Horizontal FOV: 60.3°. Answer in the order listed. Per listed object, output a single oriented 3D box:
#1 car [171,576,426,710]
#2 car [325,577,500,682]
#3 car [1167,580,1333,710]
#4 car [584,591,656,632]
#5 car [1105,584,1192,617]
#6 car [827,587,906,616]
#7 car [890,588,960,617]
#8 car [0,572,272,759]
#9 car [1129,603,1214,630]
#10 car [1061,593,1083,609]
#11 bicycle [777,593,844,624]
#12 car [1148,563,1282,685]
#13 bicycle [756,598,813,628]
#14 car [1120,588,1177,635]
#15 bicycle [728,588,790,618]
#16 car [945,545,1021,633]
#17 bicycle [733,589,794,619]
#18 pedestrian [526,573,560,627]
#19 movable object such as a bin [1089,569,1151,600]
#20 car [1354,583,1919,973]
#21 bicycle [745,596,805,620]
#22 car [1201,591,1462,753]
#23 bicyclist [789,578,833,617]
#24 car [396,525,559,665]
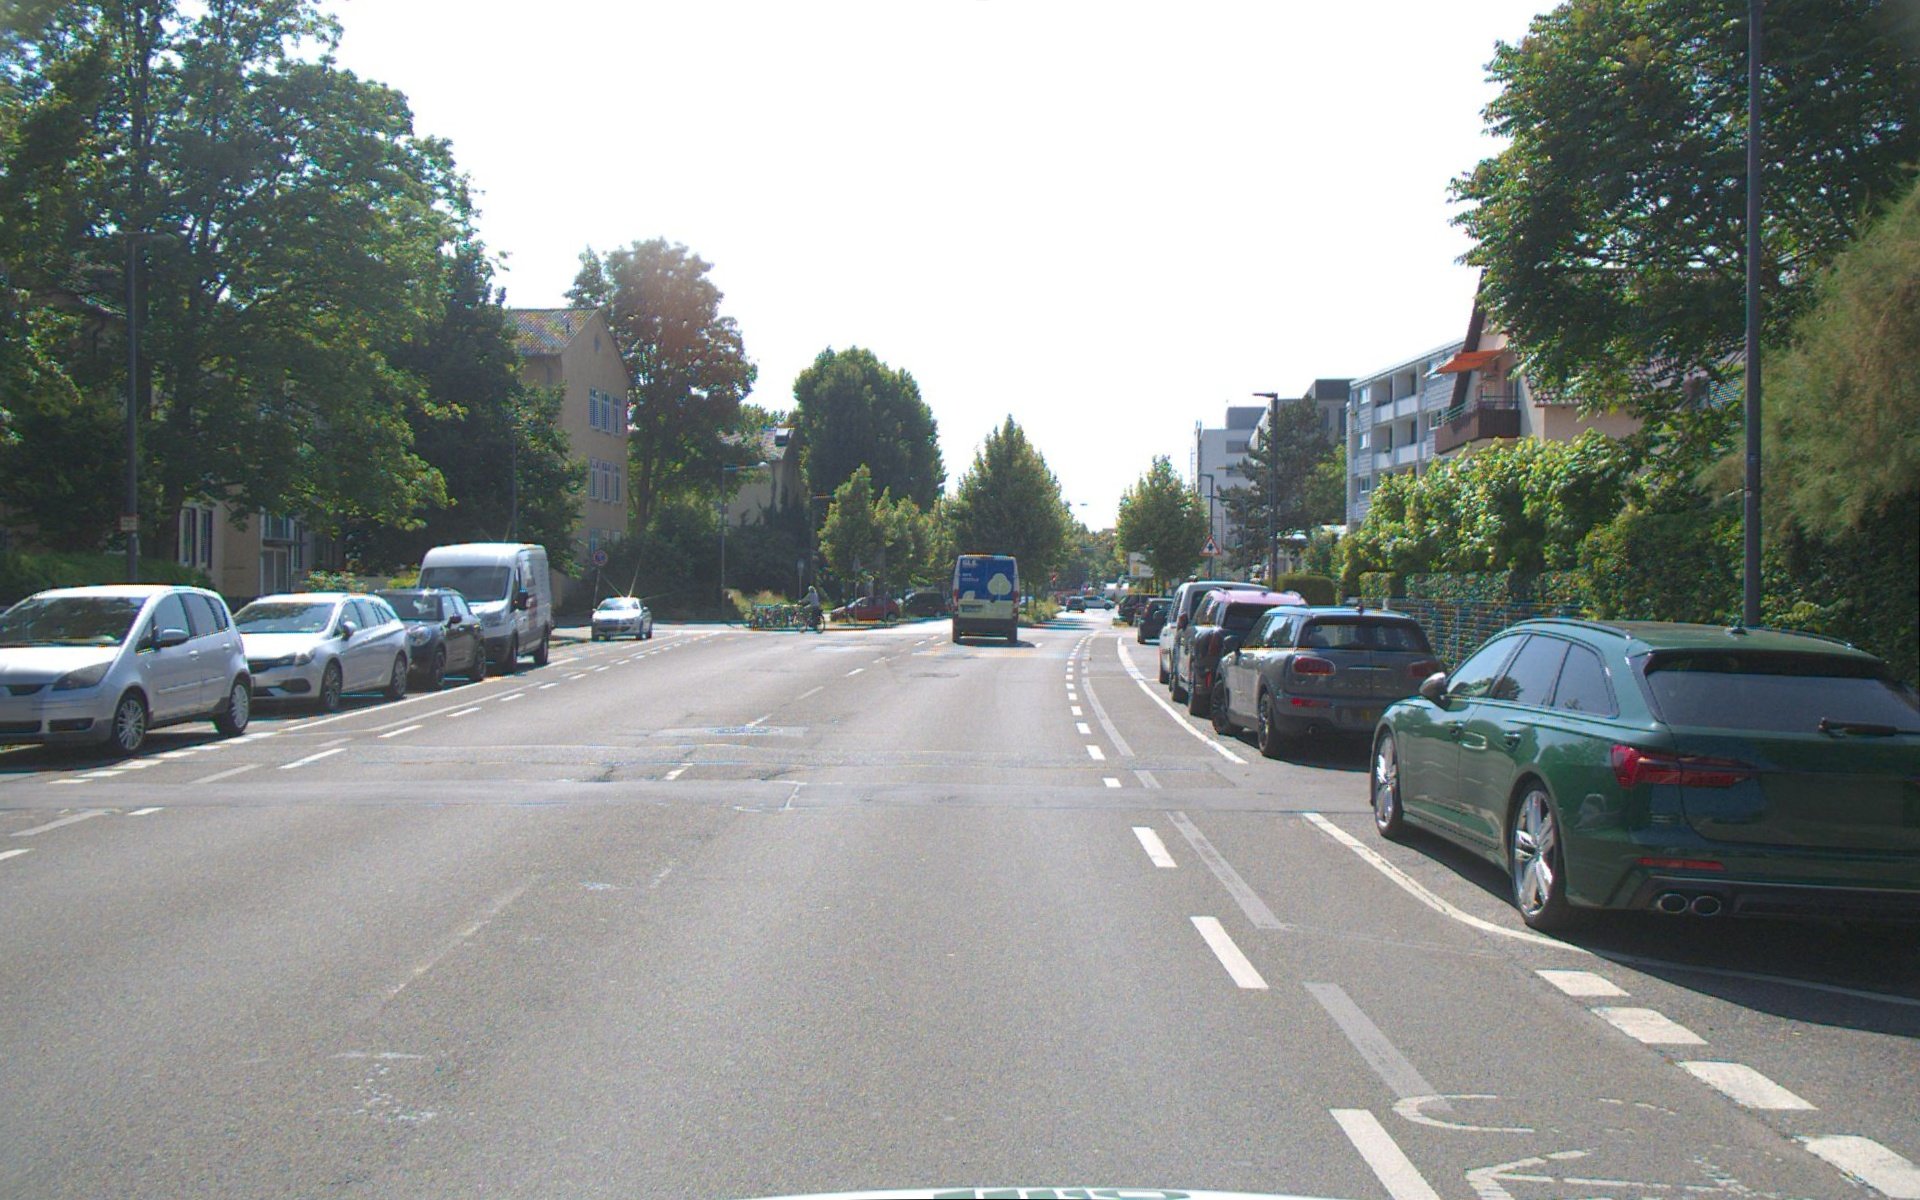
[{"bbox_3d":[-8.668,0.487,22.125,1.685,1.586,4.670,0,1,-2],"label":"car"},{"bbox_3d":[-8.916,0.426,27.263,1.685,1.586,3.998,0,1,-2],"label":"car"},{"bbox_3d":[3.932,0.544,23.082,1.725,1.621,4.315,1,1,3],"label":"car"},{"bbox_3d":[-11.213,0.350,54.790,1.685,1.289,3.998,0,1,-2],"label":"car"},{"bbox_3d":[9.839,0.034,86.326,4.060,1.668,2.026,1,0,-28],"label":"car"},{"bbox_3d":[-5.042,0.068,89.147,3.922,1.492,1.992,0,0,-16],"label":"car"},{"bbox_3d":[-2.259,0.171,107.201,4.135,1.848,1.982,0,1,-33],"label":"car"},{"bbox_3d":[-8.300,0.537,16.064,1.685,1.586,3.998,0,1,-2],"label":"car"},{"bbox_3d":[10.662,0.827,83.306,3.929,1.258,1.742,1,0,-21],"label":"car"},{"bbox_3d":[10.716,0.089,157.879,1.952,1.422,4.001,1,0,2],"label":"car"},{"bbox_3d":[-5.563,0.309,61.339,2.503,1.132,0.956,0,1,38],"label":"bicycle"},{"bbox_3d":[4.307,0.403,28.575,1.725,1.858,4.599,3,-1,3],"label":"car"},{"bbox_3d":[-7.916,0.579,74.659,2.491,1.278,0.740,1,0,3],"label":"bicycle"},{"bbox_3d":[6.106,0.375,53.954,1.583,1.414,4.002,2,0,3],"label":"car"},{"bbox_3d":[-8.513,0.128,70.117,2.491,1.278,0.740,0,0,3],"label":"bicycle"},{"bbox_3d":[0.744,-0.326,52.061,2.229,2.568,6.136,0,0,1],"label":"car"},{"bbox_3d":[-8.444,0.173,71.132,2.491,1.261,0.740,0,0,3],"label":"bicycle"},{"bbox_3d":[-14.251,-0.003,56.513,0.953,1.811,0.725,1,0,1],"label":"pedestrian"},{"bbox_3d":[25.119,-2.406,259.157,9.470,4.629,3.166,1,0,7],"label":"movable object such as a bin"},{"bbox_3d":[3.587,0.706,9.032,1.775,1.488,4.789,3,1,1],"label":"car"},{"bbox_3d":[-8.072,0.348,72.179,2.491,1.005,0.740,0,0,3],"label":"bicycle"},{"bbox_3d":[3.740,0.652,17.351,1.726,1.469,4.067,0,1,-1],"label":"car"},{"bbox_3d":[-5.510,-0.095,61.288,1.329,1.428,0.956,0,0,38],"label":"bicyclist"},{"bbox_3d":[-9.503,-0.124,33.077,2.048,2.540,5.946,0,1,-6],"label":"car"}]
